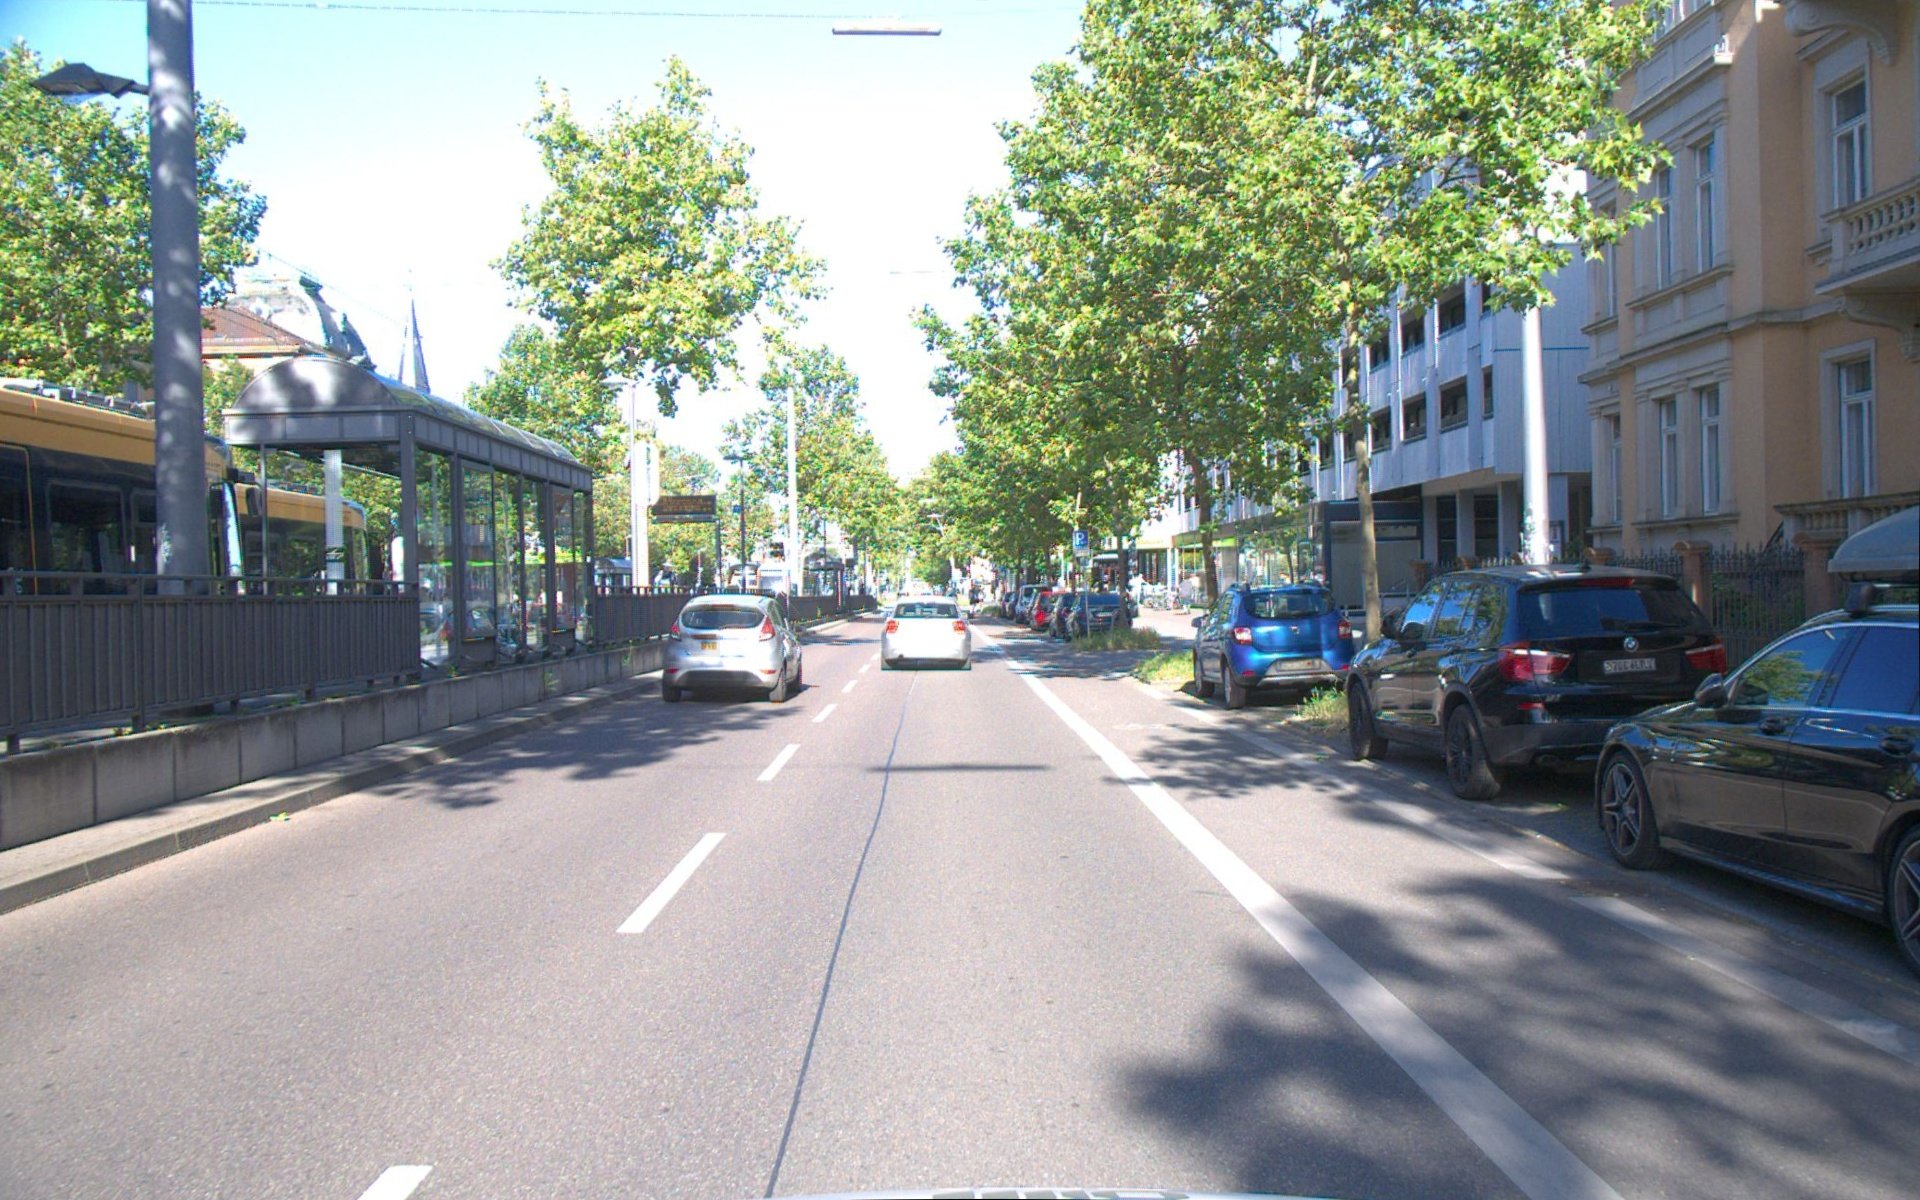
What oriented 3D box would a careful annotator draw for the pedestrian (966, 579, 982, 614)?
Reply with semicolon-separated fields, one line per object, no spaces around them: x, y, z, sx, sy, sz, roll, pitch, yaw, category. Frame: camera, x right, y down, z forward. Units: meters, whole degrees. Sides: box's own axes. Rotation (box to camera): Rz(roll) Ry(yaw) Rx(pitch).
0.823;-0.188;97.352;0.820;2.048;0.649;1;1;6;pedestrian

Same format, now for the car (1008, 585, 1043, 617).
3.485;0.045;88.895;1.676;1.590;4.000;1;1;-1;car

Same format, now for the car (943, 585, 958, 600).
-1.278;-1.048;225.706;2.029;2.049;4.000;-1;0;-1;car

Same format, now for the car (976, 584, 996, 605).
2.652;-0.563;170.100;1.953;2.048;4.000;1;1;-1;car

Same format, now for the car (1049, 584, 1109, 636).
3.858;0.292;54.118;1.635;1.578;4.000;1;1;-1;car

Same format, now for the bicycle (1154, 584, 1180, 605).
11.027;-0.286;88.275;1.355;1.077;0.243;1;1;-2;bicycle

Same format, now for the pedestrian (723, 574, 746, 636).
-7.317;0.149;53.649;0.626;1.988;0.813;1;1;-1;pedestrian

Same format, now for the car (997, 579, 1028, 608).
3.023;-0.402;96.261;1.666;1.561;3.716;1;1;-1;car

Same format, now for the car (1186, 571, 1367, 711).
4.288;0.482;22.985;1.657;1.687;4.039;-1;2;-1;car

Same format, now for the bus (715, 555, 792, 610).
-15.179;-1.406;123.854;2.810;3.691;24.602;-1;1;0;bus

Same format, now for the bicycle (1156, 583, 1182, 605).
11.065;-0.310;87.620;1.355;1.168;0.243;1;1;-2;bicycle

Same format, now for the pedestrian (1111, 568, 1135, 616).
7.039;-0.358;71.455;0.944;2.049;0.938;-1;0;-1;pedestrian

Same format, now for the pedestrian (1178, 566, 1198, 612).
10.428;-0.503;75.551;0.772;2.049;0.890;-1;0;0;pedestrian

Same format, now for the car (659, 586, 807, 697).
-3.170;0.535;23.701;1.613;1.386;3.760;1;1;0;car

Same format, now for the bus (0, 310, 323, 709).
-9.842;-0.806;16.109;2.810;3.504;11.610;-1;1;0;bus

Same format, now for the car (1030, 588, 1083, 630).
3.703;0.336;64.219;1.769;1.547;4.000;1;0;-1;car

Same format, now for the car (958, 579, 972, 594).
0.723;-1.973;236.505;1.837;2.048;3.711;1;1;-1;car

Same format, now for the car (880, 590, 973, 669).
-0.683;0.539;33.134;1.726;1.457;3.999;-1;0;-1;car

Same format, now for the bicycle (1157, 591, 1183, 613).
11.077;0.108;87.298;1.355;1.168;0.243;1;1;-2;bicycle

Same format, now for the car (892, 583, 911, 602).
-6.677;-0.849;189.225;1.953;2.048;4.000;1;1;-1;car

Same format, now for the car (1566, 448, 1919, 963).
4.558;0.375;7.626;1.719;1.999;4.737;-1;1;-1;car

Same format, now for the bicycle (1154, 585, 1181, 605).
11.040;-0.274;87.944;1.355;1.074;0.243;1;1;-2;bicycle

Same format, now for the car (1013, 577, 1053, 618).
3.500;-0.147;79.903;1.689;1.913;4.000;1;1;-1;car

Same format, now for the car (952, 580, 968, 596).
0.032;-1.528;213.199;1.953;2.049;3.999;-1;0;-1;car

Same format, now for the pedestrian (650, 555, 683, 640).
-6.922;-0.069;38.977;0.626;1.988;0.813;1;1;-1;pedestrian

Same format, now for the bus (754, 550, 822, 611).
-11.395;-1.389;111.201;2.694;3.689;18.847;-1;1;0;bus

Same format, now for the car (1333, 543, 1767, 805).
4.496;0.483;13.461;1.761;1.730;4.736;-1;0;-1;car

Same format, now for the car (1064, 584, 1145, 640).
4.208;0.334;48.943;1.953;1.535;4.597;1;0;-1;car
